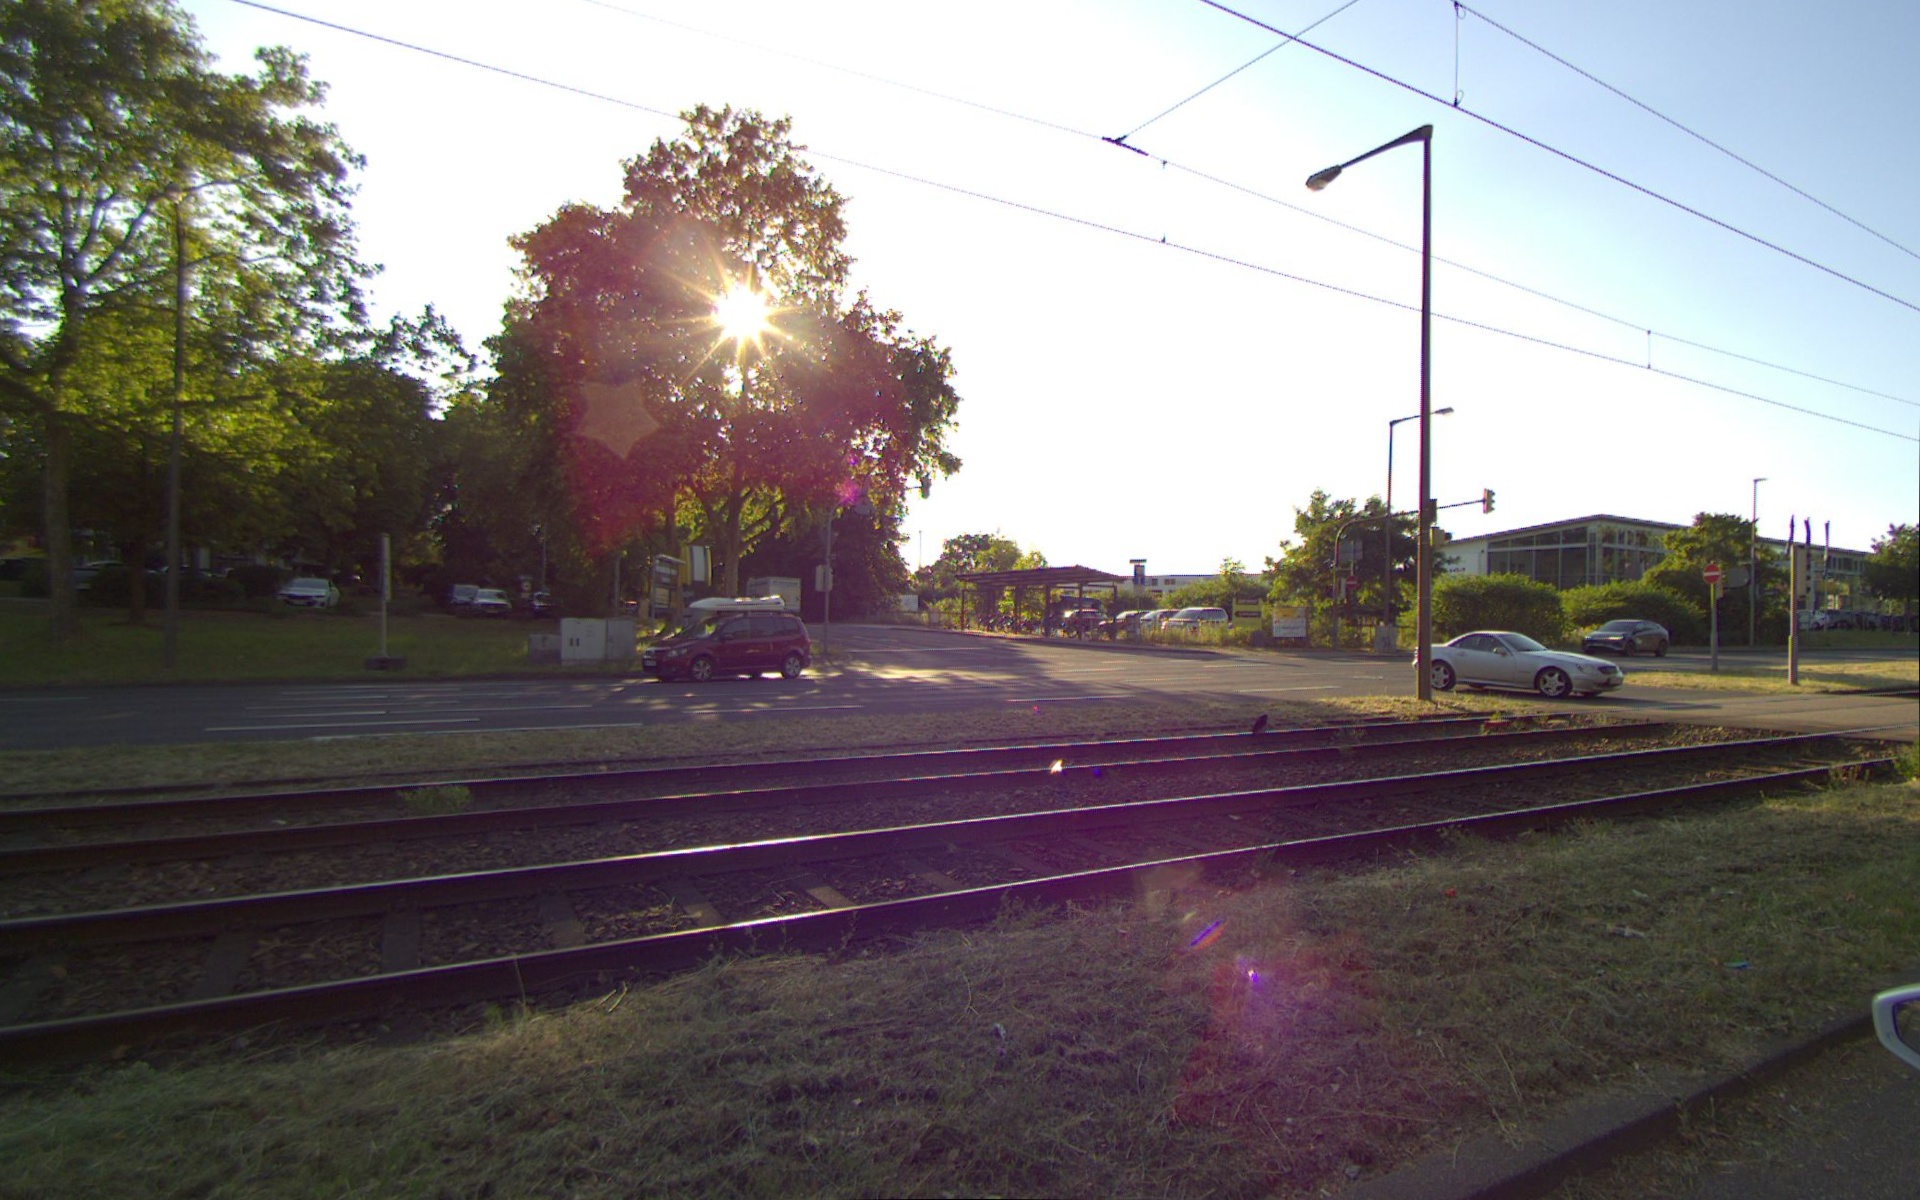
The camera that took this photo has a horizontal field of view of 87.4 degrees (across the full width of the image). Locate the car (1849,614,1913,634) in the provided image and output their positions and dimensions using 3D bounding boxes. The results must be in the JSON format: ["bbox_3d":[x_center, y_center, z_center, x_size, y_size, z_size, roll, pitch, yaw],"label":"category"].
[{"bbox_3d":[79.604,2.073,86.894,3.940,1.577,1.735,1,0,40],"label":"car"}]

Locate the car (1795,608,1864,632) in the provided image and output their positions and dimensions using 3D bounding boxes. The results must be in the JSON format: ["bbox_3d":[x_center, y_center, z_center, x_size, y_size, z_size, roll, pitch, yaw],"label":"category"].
[{"bbox_3d":[66.717,1.500,77.171,3.940,1.727,1.735,1,0,40],"label":"car"}]

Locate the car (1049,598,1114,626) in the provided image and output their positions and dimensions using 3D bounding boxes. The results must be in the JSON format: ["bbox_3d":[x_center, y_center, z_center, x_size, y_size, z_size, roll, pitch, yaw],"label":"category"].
[{"bbox_3d":[9.279,0.947,76.659,4.715,2.041,1.853,1,0,-30],"label":"car"}]

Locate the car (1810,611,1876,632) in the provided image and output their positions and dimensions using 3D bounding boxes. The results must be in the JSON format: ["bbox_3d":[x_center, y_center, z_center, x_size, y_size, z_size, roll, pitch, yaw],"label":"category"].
[{"bbox_3d":[71.980,1.755,81.945,3.940,1.577,1.735,1,0,40],"label":"car"}]

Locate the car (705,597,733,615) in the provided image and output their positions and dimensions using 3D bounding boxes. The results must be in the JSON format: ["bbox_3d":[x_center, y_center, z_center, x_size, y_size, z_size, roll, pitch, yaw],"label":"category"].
[{"bbox_3d":[-22.794,0.542,94.896,1.711,1.603,4.028,1,0,-27],"label":"car"}]

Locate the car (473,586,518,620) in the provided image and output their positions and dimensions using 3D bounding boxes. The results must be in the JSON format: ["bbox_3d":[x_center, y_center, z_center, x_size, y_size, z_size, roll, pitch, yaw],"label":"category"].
[{"bbox_3d":[-22.941,0.123,49.579,1.916,1.530,4.071,2,0,-26],"label":"car"}]

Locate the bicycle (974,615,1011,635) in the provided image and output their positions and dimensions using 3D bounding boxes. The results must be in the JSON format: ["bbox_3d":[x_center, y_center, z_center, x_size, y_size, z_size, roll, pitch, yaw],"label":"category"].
[{"bbox_3d":[1.921,1.462,59.042,2.004,1.119,0.777,2,0,-30],"label":"bicycle"}]

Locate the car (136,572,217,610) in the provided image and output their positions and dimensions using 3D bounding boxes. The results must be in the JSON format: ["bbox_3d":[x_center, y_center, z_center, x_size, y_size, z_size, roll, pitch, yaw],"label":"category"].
[{"bbox_3d":[-33.961,-0.380,43.674,1.916,1.530,4.071,2,0,-26],"label":"car"}]

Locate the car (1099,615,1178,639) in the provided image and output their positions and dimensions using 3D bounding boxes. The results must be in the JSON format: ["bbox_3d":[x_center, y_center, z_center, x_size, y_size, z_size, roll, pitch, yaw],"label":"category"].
[{"bbox_3d":[9.933,1.495,55.862,4.123,1.284,1.853,1,0,-30],"label":"car"}]

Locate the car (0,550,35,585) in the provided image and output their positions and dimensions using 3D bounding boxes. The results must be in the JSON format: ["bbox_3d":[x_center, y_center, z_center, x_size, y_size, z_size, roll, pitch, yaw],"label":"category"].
[{"bbox_3d":[-53.866,-1.864,56.369,2.274,1.875,5.220,2,0,-36],"label":"car"}]

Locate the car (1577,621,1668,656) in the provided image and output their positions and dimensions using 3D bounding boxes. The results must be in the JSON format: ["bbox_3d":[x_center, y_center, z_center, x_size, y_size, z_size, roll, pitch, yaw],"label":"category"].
[{"bbox_3d":[30.894,1.765,46.833,4.120,1.501,1.854,1,0,-29],"label":"car"}]

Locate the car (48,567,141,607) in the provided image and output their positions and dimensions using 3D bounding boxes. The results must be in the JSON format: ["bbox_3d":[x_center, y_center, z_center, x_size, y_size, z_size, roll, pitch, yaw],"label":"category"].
[{"bbox_3d":[-36.093,-0.542,42.010,1.916,1.530,4.071,2,0,-26],"label":"car"}]

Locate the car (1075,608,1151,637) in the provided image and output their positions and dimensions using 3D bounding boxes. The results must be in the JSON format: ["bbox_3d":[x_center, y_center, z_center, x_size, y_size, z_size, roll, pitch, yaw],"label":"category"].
[{"bbox_3d":[8.814,1.293,57.793,4.123,1.604,1.853,1,0,-30],"label":"car"}]

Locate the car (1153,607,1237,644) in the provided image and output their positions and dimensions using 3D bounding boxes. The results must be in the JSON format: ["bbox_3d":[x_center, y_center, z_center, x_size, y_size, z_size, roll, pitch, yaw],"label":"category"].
[{"bbox_3d":[12.356,1.334,52.731,4.123,1.846,1.853,1,0,-30],"label":"car"}]

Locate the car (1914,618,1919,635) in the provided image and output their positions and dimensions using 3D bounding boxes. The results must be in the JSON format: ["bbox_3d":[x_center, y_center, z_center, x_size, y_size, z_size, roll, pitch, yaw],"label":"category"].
[{"bbox_3d":[91.288,2.511,93.025,1.725,1.642,3.962,1,0,-34],"label":"car"}]

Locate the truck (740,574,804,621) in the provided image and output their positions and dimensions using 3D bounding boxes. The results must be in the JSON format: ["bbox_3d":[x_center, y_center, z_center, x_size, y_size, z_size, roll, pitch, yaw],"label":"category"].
[{"bbox_3d":[-15.031,-0.248,79.794,2.782,3.520,8.291,1,0,-27],"label":"truck"}]

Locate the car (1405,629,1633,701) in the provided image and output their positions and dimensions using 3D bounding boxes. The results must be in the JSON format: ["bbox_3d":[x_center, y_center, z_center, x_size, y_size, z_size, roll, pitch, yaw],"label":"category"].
[{"bbox_3d":[11.686,1.304,21.240,1.597,1.311,3.947,1,-1,-33],"label":"car"}]

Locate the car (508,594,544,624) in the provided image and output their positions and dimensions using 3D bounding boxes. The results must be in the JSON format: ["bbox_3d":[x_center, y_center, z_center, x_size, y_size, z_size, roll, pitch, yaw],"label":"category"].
[{"bbox_3d":[-26.205,0.520,60.684,1.836,1.637,4.036,2,0,-23],"label":"car"}]

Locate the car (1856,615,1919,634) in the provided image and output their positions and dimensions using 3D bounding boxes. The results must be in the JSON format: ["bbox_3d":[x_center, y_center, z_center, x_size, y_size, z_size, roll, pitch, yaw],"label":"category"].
[{"bbox_3d":[81.757,2.162,88.513,1.728,1.576,3.957,1,0,-37],"label":"car"}]

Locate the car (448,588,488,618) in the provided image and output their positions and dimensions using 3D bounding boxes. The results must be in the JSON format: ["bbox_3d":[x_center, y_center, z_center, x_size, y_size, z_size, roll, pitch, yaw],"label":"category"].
[{"bbox_3d":[-28.579,0.142,58.485,1.836,1.637,4.036,2,0,-23],"label":"car"}]

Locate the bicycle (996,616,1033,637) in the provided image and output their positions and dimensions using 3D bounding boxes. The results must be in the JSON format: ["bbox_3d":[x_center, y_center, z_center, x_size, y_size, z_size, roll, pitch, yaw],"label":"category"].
[{"bbox_3d":[3.063,1.484,56.406,2.004,1.119,0.777,2,0,-30],"label":"bicycle"}]

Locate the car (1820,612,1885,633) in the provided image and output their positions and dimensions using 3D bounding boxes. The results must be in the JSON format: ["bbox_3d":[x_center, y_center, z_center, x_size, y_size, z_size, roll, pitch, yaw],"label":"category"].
[{"bbox_3d":[74.200,1.851,83.613,3.940,1.577,1.735,1,0,40],"label":"car"}]

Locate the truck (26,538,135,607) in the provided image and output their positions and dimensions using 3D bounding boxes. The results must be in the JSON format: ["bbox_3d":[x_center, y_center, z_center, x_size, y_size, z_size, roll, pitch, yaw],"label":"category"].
[{"bbox_3d":[-44.519,-1.325,51.053,2.468,3.209,6.187,2,0,-26],"label":"truck"}]

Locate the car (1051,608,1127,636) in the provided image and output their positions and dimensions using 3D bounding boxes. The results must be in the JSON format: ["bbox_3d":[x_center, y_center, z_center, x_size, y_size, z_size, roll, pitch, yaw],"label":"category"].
[{"bbox_3d":[7.710,1.300,59.988,4.123,1.604,1.968,1,0,-30],"label":"car"}]

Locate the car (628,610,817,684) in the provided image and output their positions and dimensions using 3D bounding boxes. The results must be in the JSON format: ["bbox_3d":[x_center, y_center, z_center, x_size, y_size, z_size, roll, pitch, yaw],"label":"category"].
[{"bbox_3d":[-5.735,1.119,24.697,1.816,1.656,4.291,-1,-2,40],"label":"car"}]

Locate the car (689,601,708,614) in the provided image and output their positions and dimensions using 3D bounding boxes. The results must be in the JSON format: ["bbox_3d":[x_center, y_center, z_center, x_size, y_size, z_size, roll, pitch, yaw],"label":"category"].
[{"bbox_3d":[-32.999,0.927,126.746,1.887,1.602,4.036,2,0,-21],"label":"car"}]

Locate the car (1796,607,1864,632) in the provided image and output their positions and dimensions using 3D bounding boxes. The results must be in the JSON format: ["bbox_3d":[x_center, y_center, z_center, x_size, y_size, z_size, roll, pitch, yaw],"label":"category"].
[{"bbox_3d":[68.355,1.499,78.984,3.940,1.840,1.735,1,0,40],"label":"car"}]

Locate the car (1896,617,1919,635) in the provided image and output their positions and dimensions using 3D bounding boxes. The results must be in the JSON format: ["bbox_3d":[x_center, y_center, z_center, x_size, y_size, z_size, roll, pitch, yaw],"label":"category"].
[{"bbox_3d":[88.372,2.395,91.746,1.725,1.642,3.962,1,0,-34],"label":"car"}]

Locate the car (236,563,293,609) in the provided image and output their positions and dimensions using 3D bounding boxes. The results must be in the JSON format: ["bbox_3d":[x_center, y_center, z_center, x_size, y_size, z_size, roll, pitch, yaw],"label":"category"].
[{"bbox_3d":[-37.303,-0.735,53.997,2.138,2.334,4.369,2,0,-31],"label":"car"}]

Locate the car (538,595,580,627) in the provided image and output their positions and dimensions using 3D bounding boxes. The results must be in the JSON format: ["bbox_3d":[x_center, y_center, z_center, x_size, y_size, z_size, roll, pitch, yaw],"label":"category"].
[{"bbox_3d":[-20.446,0.535,51.129,1.604,1.477,3.878,2,0,-27],"label":"car"}]

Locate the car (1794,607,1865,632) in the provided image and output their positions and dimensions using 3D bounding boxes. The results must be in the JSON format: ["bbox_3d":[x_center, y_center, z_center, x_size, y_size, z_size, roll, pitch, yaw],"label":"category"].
[{"bbox_3d":[65.171,1.450,75.372,3.940,1.727,1.735,1,0,40],"label":"car"}]

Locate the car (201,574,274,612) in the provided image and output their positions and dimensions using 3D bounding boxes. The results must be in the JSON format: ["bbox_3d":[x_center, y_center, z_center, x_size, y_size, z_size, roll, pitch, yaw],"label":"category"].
[{"bbox_3d":[-32.119,-0.307,44.746,1.916,1.530,4.071,2,0,-26],"label":"car"}]

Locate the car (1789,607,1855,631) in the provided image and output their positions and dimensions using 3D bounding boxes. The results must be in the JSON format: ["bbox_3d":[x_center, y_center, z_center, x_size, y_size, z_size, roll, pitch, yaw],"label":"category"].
[{"bbox_3d":[69.316,1.516,80.829,3.940,1.840,1.735,1,0,40],"label":"car"}]

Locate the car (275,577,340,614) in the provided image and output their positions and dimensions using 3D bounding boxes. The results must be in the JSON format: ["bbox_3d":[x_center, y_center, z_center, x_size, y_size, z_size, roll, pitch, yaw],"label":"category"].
[{"bbox_3d":[-29.438,-0.206,45.429,1.916,1.530,4.071,2,0,-26],"label":"car"}]
